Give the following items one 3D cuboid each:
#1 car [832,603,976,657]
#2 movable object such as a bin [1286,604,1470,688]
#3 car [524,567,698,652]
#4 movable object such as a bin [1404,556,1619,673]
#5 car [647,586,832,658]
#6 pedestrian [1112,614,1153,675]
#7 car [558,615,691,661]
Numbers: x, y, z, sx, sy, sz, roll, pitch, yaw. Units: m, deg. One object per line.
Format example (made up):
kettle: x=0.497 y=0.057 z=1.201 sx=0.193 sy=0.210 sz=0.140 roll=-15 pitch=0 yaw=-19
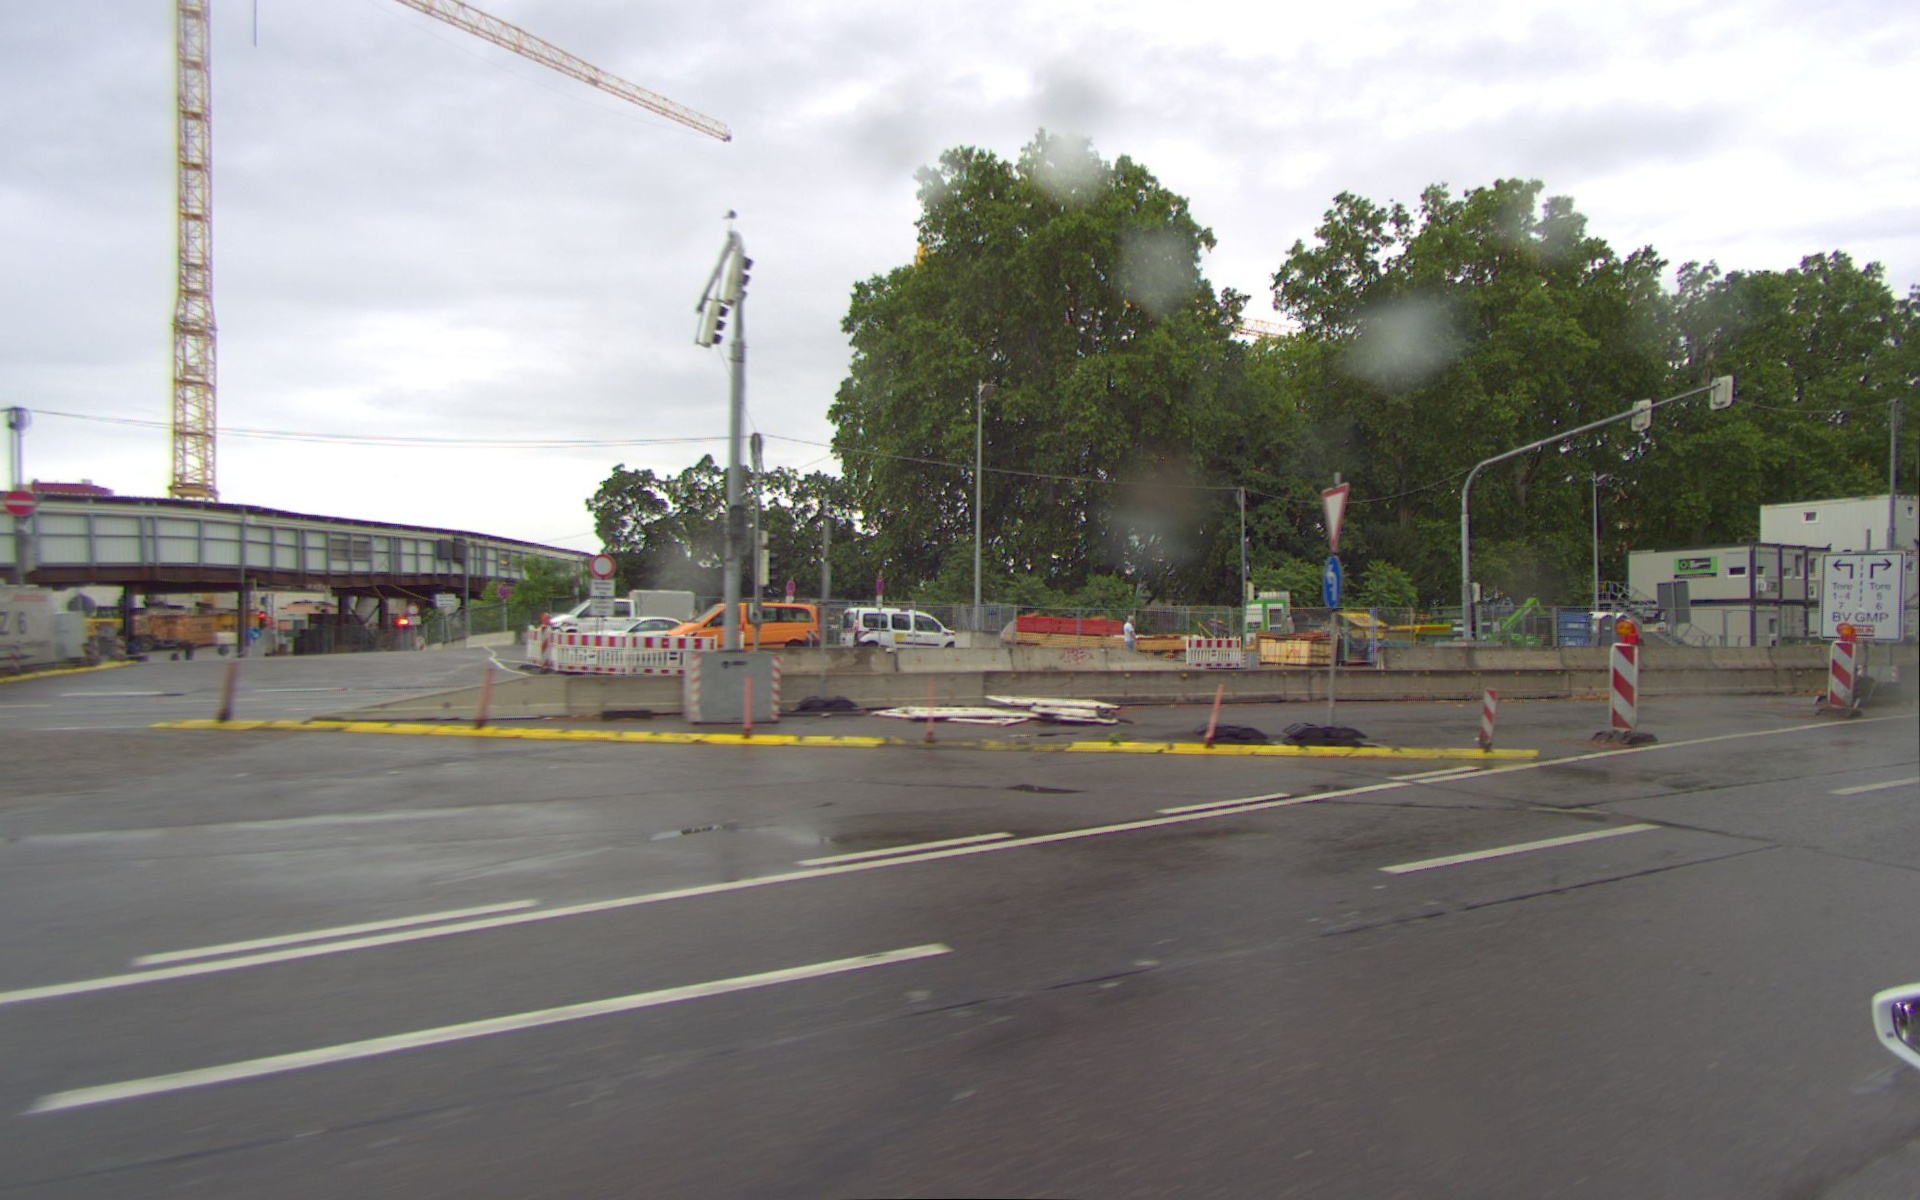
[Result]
car: x=-1.941 y=1.082 z=35.207 sx=4.736 sy=1.784 sz=1.839 roll=1 pitch=-2 yaw=-27
movable object such as a bin: x=17.212 y=1.882 z=41.444 sx=6.305 sy=3.169 sz=3.919 roll=1 pitch=-2 yaw=-27
car: x=-13.464 y=0.446 z=38.857 sx=6.092 sy=3.106 sz=2.265 roll=1 pitch=-2 yaw=-28
movable object such as a bin: x=25.064 y=0.758 z=45.699 sx=8.251 sy=4.866 sz=4.734 roll=1 pitch=-2 yaw=-27
car: x=-7.057 y=0.770 z=32.352 sx=5.517 sy=2.128 sz=1.985 roll=2 pitch=-4 yaw=-30
pedestrian: x=5.839 y=1.496 z=34.111 sx=1.150 sy=2.040 sz=1.183 roll=1 pitch=0 yaw=0
car: x=-11.026 y=1.249 z=33.111 sx=3.800 sy=1.433 sz=1.744 roll=2 pitch=-3 yaw=-38
